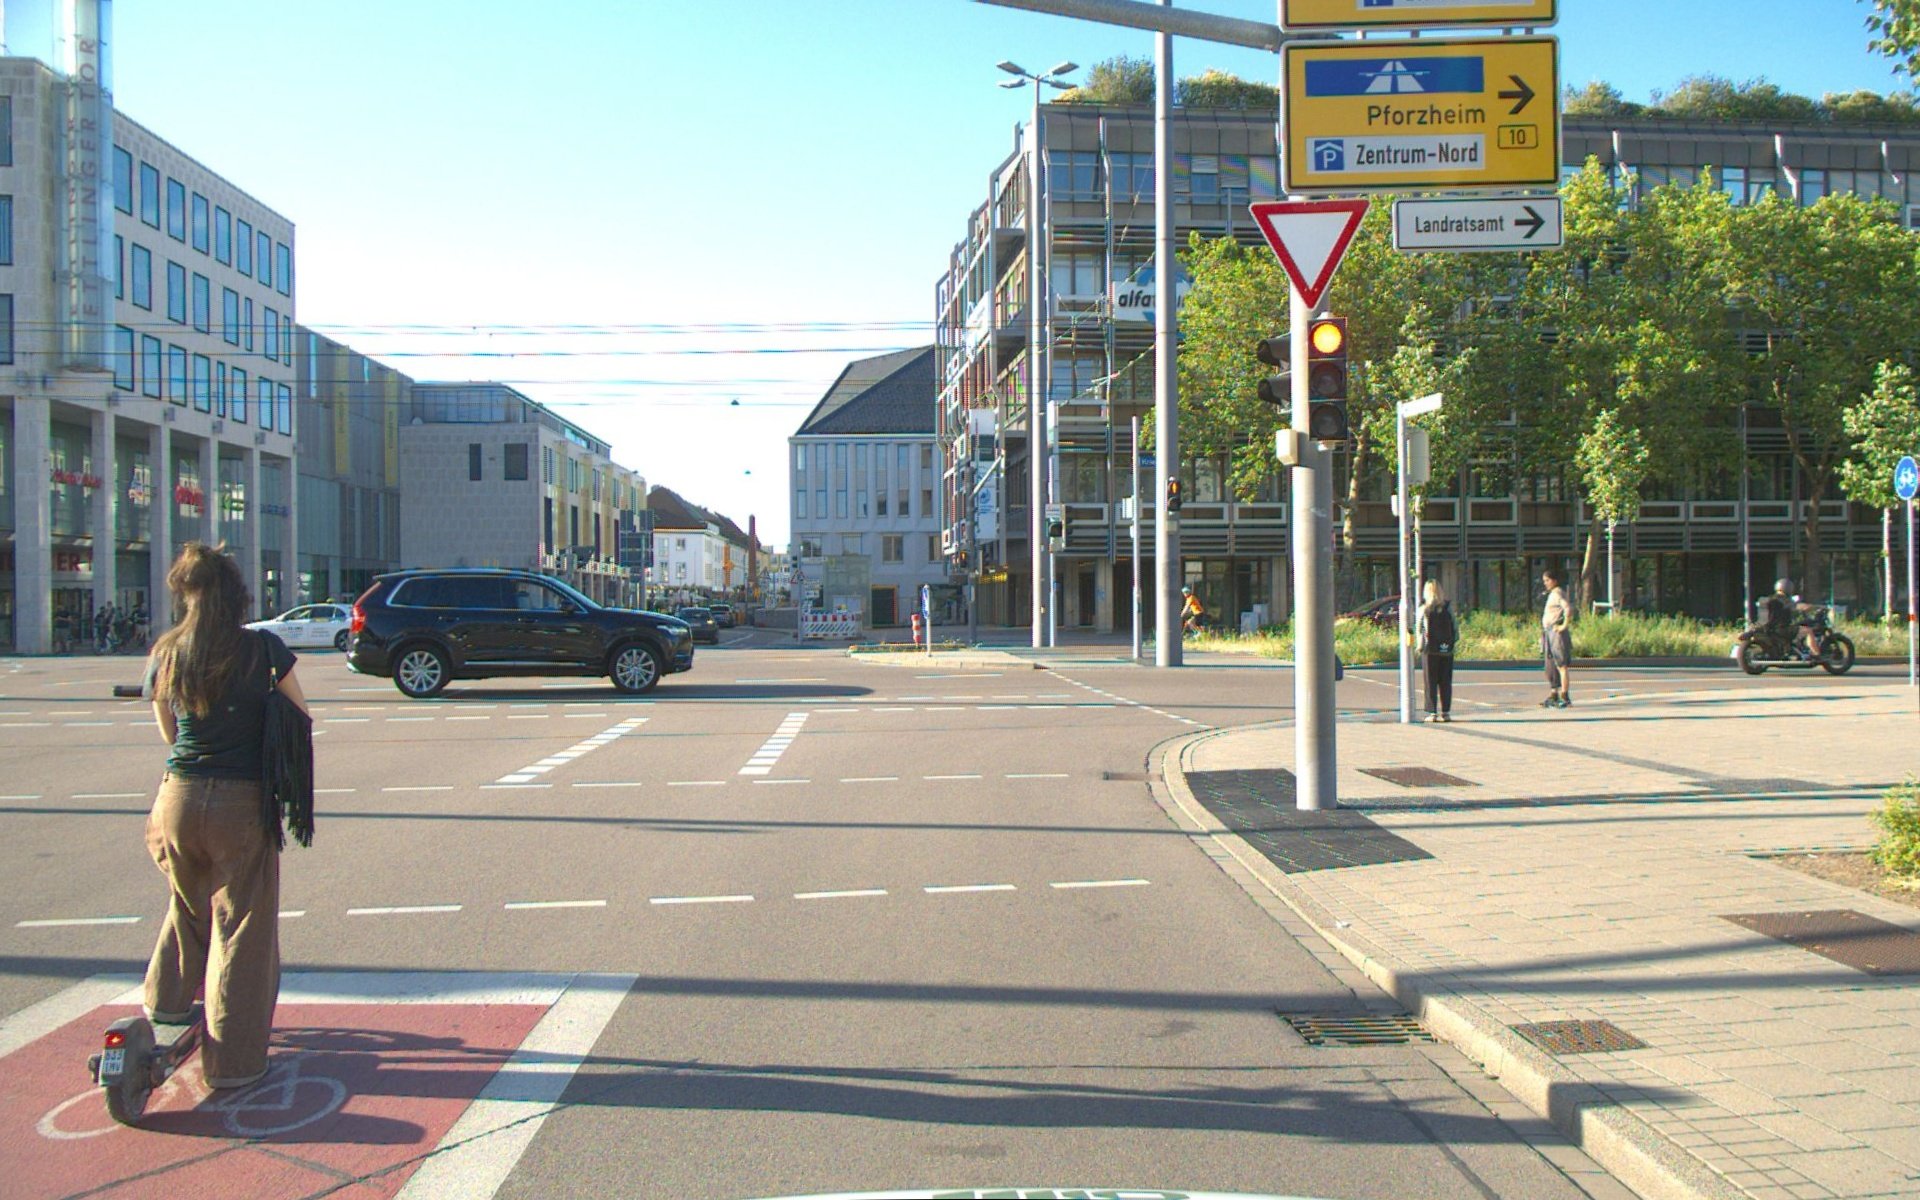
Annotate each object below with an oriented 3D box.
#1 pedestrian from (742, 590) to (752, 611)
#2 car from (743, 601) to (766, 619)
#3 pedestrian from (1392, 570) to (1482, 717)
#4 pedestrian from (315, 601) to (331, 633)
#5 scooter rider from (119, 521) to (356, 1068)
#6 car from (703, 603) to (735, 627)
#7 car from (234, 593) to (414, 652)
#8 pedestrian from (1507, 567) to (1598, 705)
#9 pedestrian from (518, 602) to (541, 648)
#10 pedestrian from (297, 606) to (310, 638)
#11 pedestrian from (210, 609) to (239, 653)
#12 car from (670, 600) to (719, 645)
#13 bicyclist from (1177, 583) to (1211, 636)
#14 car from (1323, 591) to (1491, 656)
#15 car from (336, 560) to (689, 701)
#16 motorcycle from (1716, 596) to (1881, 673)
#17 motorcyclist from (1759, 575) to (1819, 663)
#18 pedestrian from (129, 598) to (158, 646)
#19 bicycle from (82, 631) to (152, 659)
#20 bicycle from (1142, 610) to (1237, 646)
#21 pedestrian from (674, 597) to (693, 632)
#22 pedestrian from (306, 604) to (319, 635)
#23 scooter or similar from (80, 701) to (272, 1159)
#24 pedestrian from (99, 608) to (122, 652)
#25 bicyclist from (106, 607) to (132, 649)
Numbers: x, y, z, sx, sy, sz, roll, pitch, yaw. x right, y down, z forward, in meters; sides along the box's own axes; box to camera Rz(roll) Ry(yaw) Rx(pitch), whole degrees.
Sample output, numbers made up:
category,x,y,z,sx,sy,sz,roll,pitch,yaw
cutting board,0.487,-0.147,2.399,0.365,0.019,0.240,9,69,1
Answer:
category,x,y,z,sx,sy,sz,roll,pitch,yaw
pedestrian,-21.142,0.041,164.364,0.892,1.999,0.822,1,-1,-1
car,-18.082,0.860,145.671,1.625,1.484,3.541,-1,0,-1
pedestrian,5.489,0.491,19.077,0.750,1.642,0.874,-1,0,-2
pedestrian,-34.806,0.925,90.362,0.462,1.759,0.626,1,-1,33
scooter rider,-2.155,0.552,4.978,0.542,1.556,0.448,-1,0,-9
car,-15.692,0.957,107.825,1.625,1.484,3.541,-1,0,-1
car,-19.296,0.675,50.316,4.747,1.713,1.825,-1,0,-2
pedestrian,7.590,0.452,21.218,0.854,1.736,0.768,-1,0,-3
pedestrian,-16.365,0.943,62.912,0.685,1.718,0.619,-1,0,0
pedestrian,-36.469,1.213,91.863,0.462,1.759,0.518,0,-1,38
pedestrian,-27.999,1.185,62.977,0.760,1.667,0.626,-1,0,5
car,-10.574,0.854,65.678,1.787,1.713,3.989,-1,0,-11
bicyclist,6.679,0.273,47.223,0.806,1.500,0.652,-1,0,-5
car,12.574,0.641,46.642,4.212,1.713,1.820,-1,0,-11
car,-6.404,0.396,24.004,4.735,1.896,1.879,-1,0,-15
motorcycle,14.163,0.570,27.954,2.546,1.229,0.728,-1,1,-9
motorcyclist,14.000,0.312,27.936,0.644,1.448,0.647,-1,1,-8
pedestrian,-32.856,0.877,66.544,0.923,1.897,0.539,-1,0,16
bicycle,-29.952,1.604,58.795,0.624,0.919,2.212,-1,0,32
bicycle,6.543,0.792,47.204,2.517,0.992,1.047,-1,0,-4
pedestrian,-14.533,0.779,86.891,0.881,1.814,0.808,0,0,-1
pedestrian,-36.467,1.109,93.163,0.462,1.759,0.518,0,-1,38
scooter or similar,-2.216,0.883,4.730,0.301,1.127,0.836,-1,0,-12
pedestrian,-32.733,1.138,63.742,0.580,1.674,0.629,-1,0,-1
bicyclist,-29.916,0.982,58.840,0.614,1.473,0.588,-1,0,29
